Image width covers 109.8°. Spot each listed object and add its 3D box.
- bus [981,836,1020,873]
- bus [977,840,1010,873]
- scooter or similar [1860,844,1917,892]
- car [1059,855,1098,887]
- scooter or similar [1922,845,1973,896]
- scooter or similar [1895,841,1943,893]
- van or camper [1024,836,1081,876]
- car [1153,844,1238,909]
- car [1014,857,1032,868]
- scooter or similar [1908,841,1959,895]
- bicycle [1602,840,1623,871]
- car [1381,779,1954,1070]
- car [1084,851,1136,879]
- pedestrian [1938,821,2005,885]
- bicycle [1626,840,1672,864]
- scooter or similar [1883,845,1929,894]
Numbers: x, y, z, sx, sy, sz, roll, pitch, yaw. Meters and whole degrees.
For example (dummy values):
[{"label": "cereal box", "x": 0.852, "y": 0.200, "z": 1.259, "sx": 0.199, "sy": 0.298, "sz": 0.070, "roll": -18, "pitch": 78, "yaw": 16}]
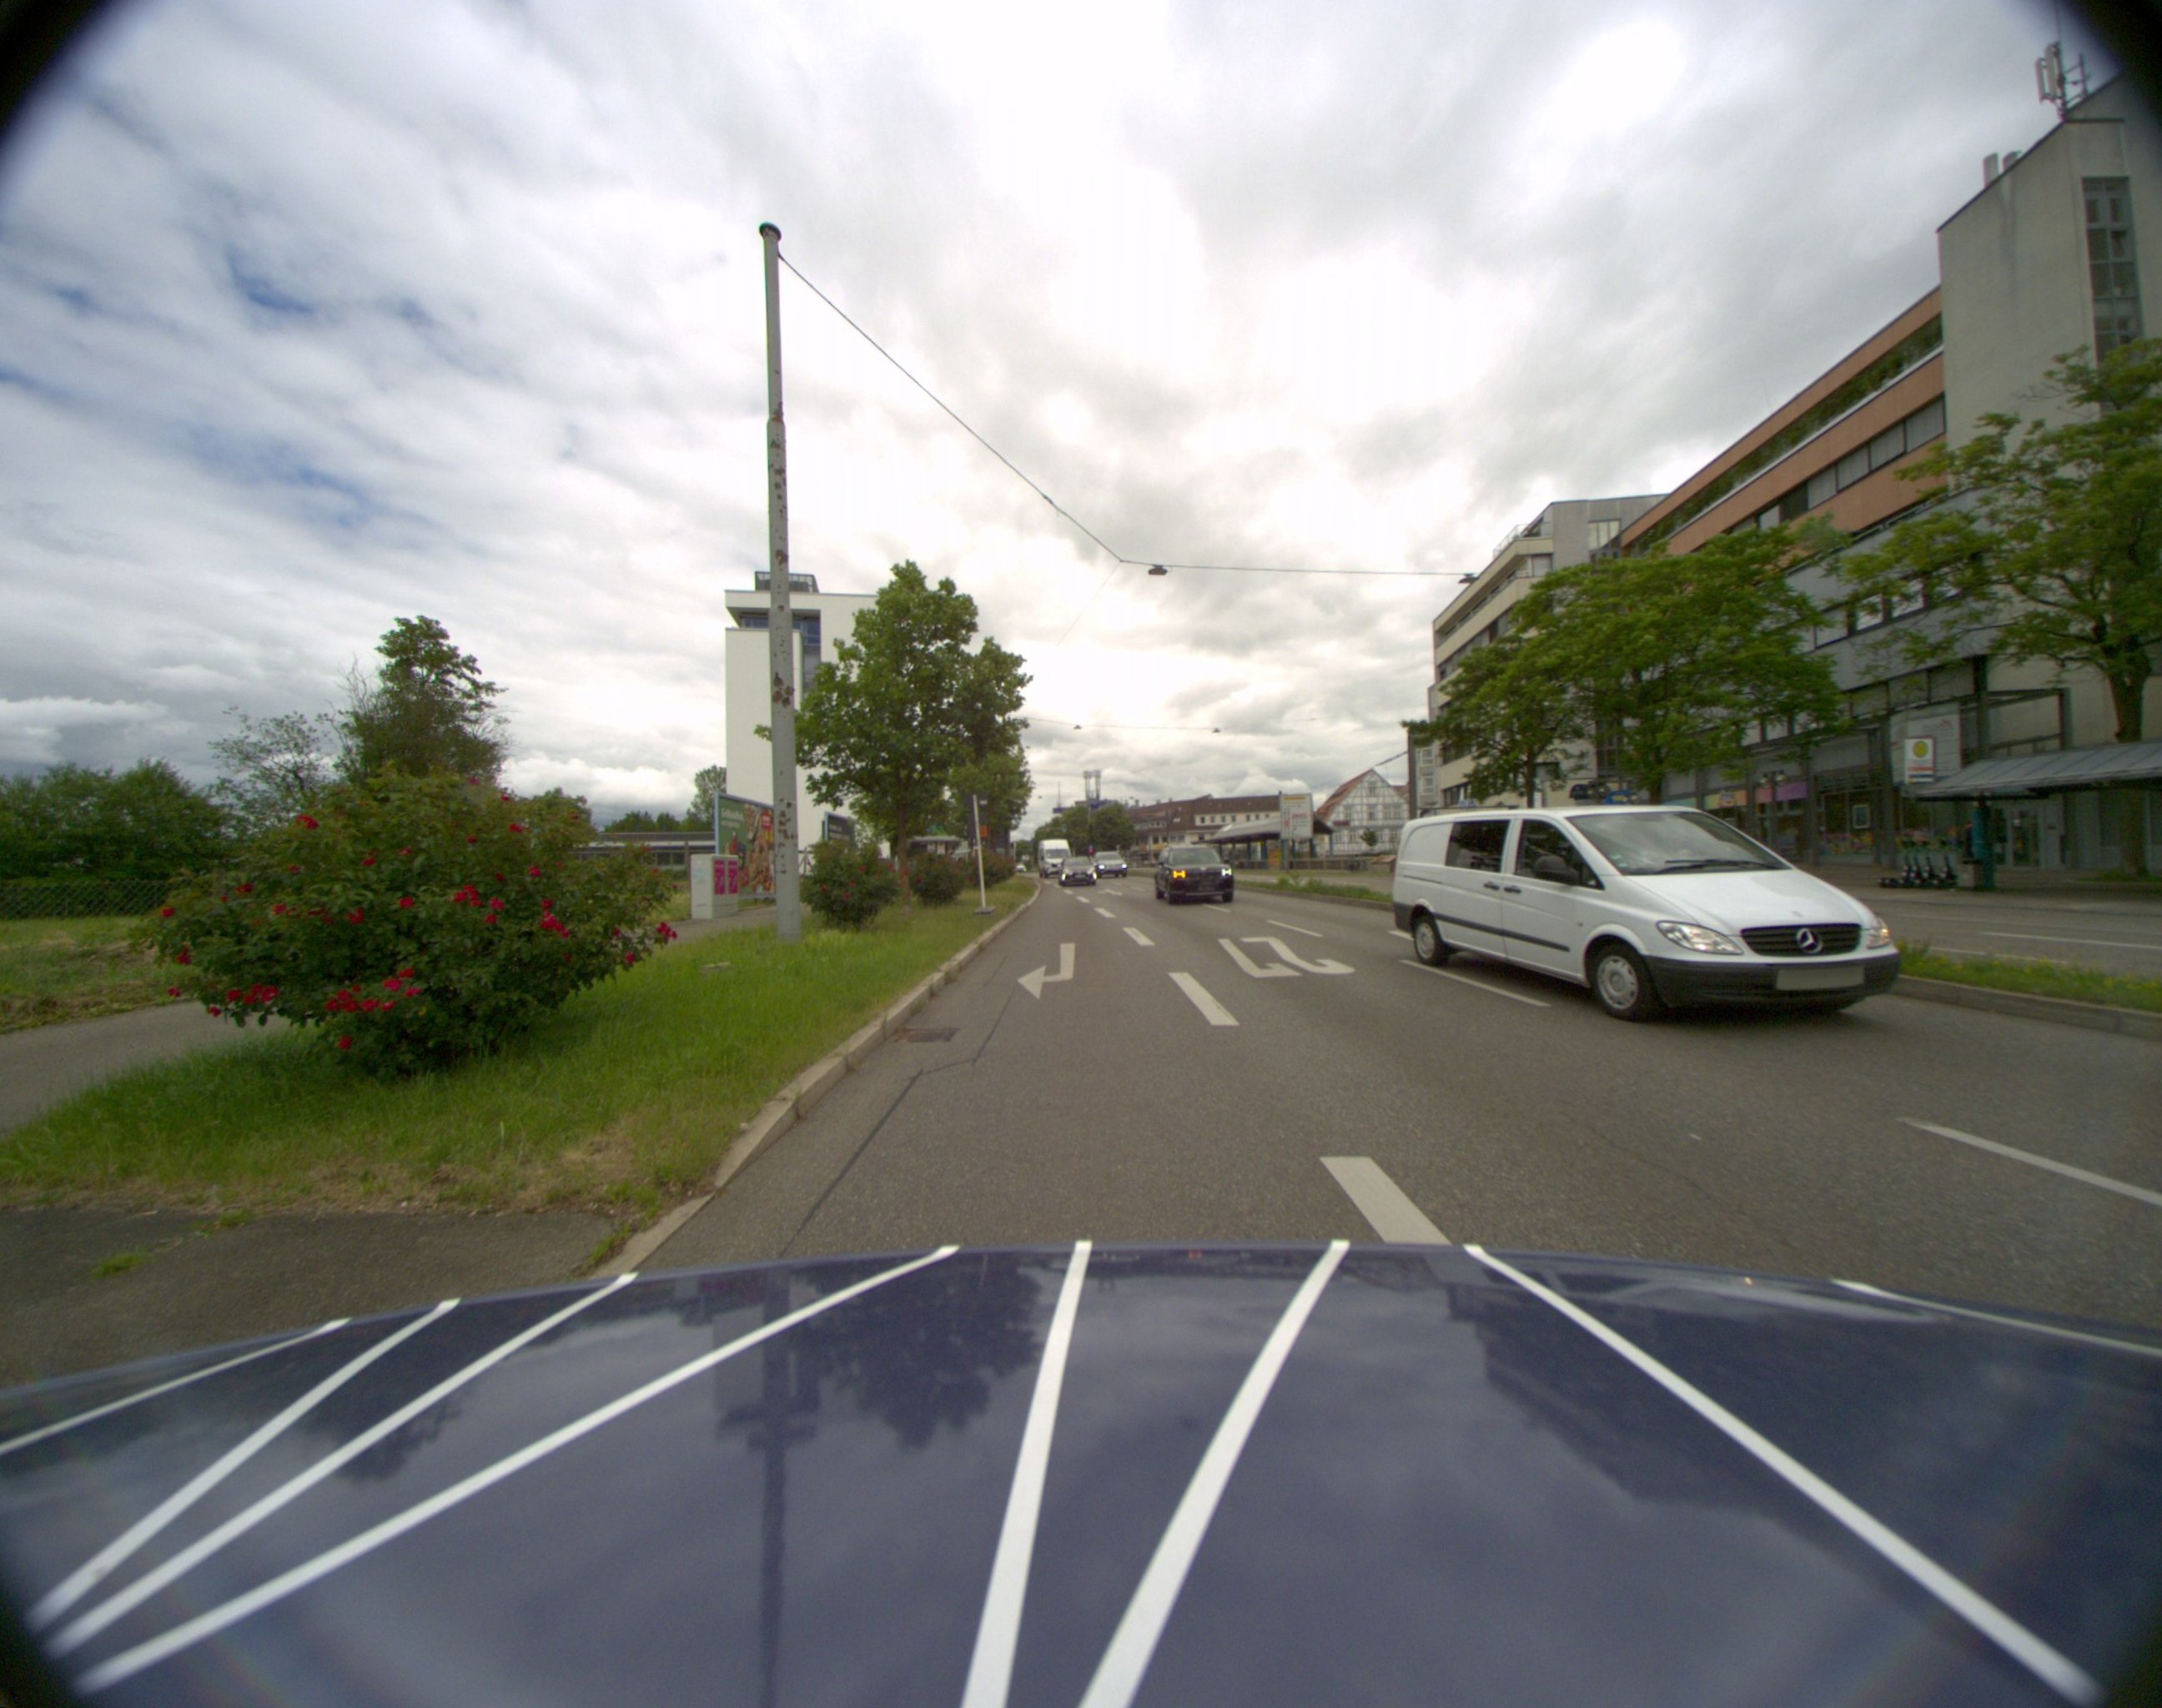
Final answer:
[{"label": "bus", "x": -7.611, "y": 0.146, "z": 70.821, "sx": 2.722, "sy": 3.144, "sz": 9.120, "roll": 2, "pitch": -1, "yaw": -11}, {"label": "bus", "x": -9.276, "y": 0.315, "z": 79.632, "sx": 2.722, "sy": 3.090, "sz": 8.863, "roll": 3, "pitch": -1, "yaw": -10}, {"label": "scooter or similar", "x": 22.484, "y": 0.379, "z": 21.154, "sx": 1.325, "sy": 1.262, "sz": 0.339, "roll": -3, "pitch": 1, "yaw": -7}, {"label": "car", "x": -0.116, "y": 0.832, "z": 38.596, "sx": 1.863, "sy": 1.516, "sz": 4.000, "roll": -1, "pitch": -1, "yaw": 0}, {"label": "scooter or similar", "x": 22.780, "y": 0.419, "z": 19.980, "sx": 1.205, "sy": 1.312, "sz": 0.259, "roll": -1, "pitch": 1, "yaw": -7}, {"label": "scooter or similar", "x": 22.658, "y": 0.358, "z": 20.536, "sx": 1.205, "sy": 1.377, "sz": 0.222, "roll": -1, "pitch": 1, "yaw": -7}, {"label": "van or camper", "x": -2.187, "y": 0.177, "z": 55.330, "sx": 2.283, "sy": 2.690, "sz": 6.985, "roll": -1, "pitch": -1, "yaw": -18}, {"label": "car", "x": 3.458, "y": 0.616, "z": 23.731, "sx": 1.927, "sy": 1.741, "sz": 4.678, "roll": -3, "pitch": 1, "yaw": 1}, {"label": "car", "x": -8.046, "y": 1.163, "z": 105.216, "sx": 2.000, "sy": 1.368, "sz": 3.996, "roll": -1, "pitch": 1, "yaw": -11}, {"label": "scooter or similar", "x": 22.746, "y": 0.368, "z": 20.276, "sx": 1.205, "sy": 1.415, "sz": 0.259, "roll": -1, "pitch": 1, "yaw": -7}, {"label": "bicycle", "x": 21.774, "y": 0.062, "z": 31.156, "sx": 0.625, "sy": 1.246, "sz": 1.687, "roll": -1, "pitch": 1, "yaw": 33}, {"label": "car", "x": 5.244, "y": 0.466, "z": 7.992, "sx": 1.879, "sy": 2.002, "sz": 5.073, "roll": -3, "pitch": 1, "yaw": -3}, {"label": "car", "x": 1.807, "y": 0.717, "z": 48.897, "sx": 2.001, "sy": 1.640, "sz": 4.388, "roll": -3, "pitch": 0, "yaw": -16}, {"label": "pedestrian", "x": 25.340, "y": -0.021, "z": 21.643, "sx": 0.735, "sy": 1.771, "sz": 0.997, "roll": -1, "pitch": 1, "yaw": -4}, {"label": "bicycle", "x": 32.076, "y": -0.112, "z": 42.921, "sx": 1.970, "sy": 1.311, "sz": 0.706, "roll": -1, "pitch": 1, "yaw": 16}, {"label": "scooter or similar", "x": 22.583, "y": 0.418, "z": 20.803, "sx": 1.131, "sy": 1.288, "sz": 0.268, "roll": -1, "pitch": 1, "yaw": -8}]
